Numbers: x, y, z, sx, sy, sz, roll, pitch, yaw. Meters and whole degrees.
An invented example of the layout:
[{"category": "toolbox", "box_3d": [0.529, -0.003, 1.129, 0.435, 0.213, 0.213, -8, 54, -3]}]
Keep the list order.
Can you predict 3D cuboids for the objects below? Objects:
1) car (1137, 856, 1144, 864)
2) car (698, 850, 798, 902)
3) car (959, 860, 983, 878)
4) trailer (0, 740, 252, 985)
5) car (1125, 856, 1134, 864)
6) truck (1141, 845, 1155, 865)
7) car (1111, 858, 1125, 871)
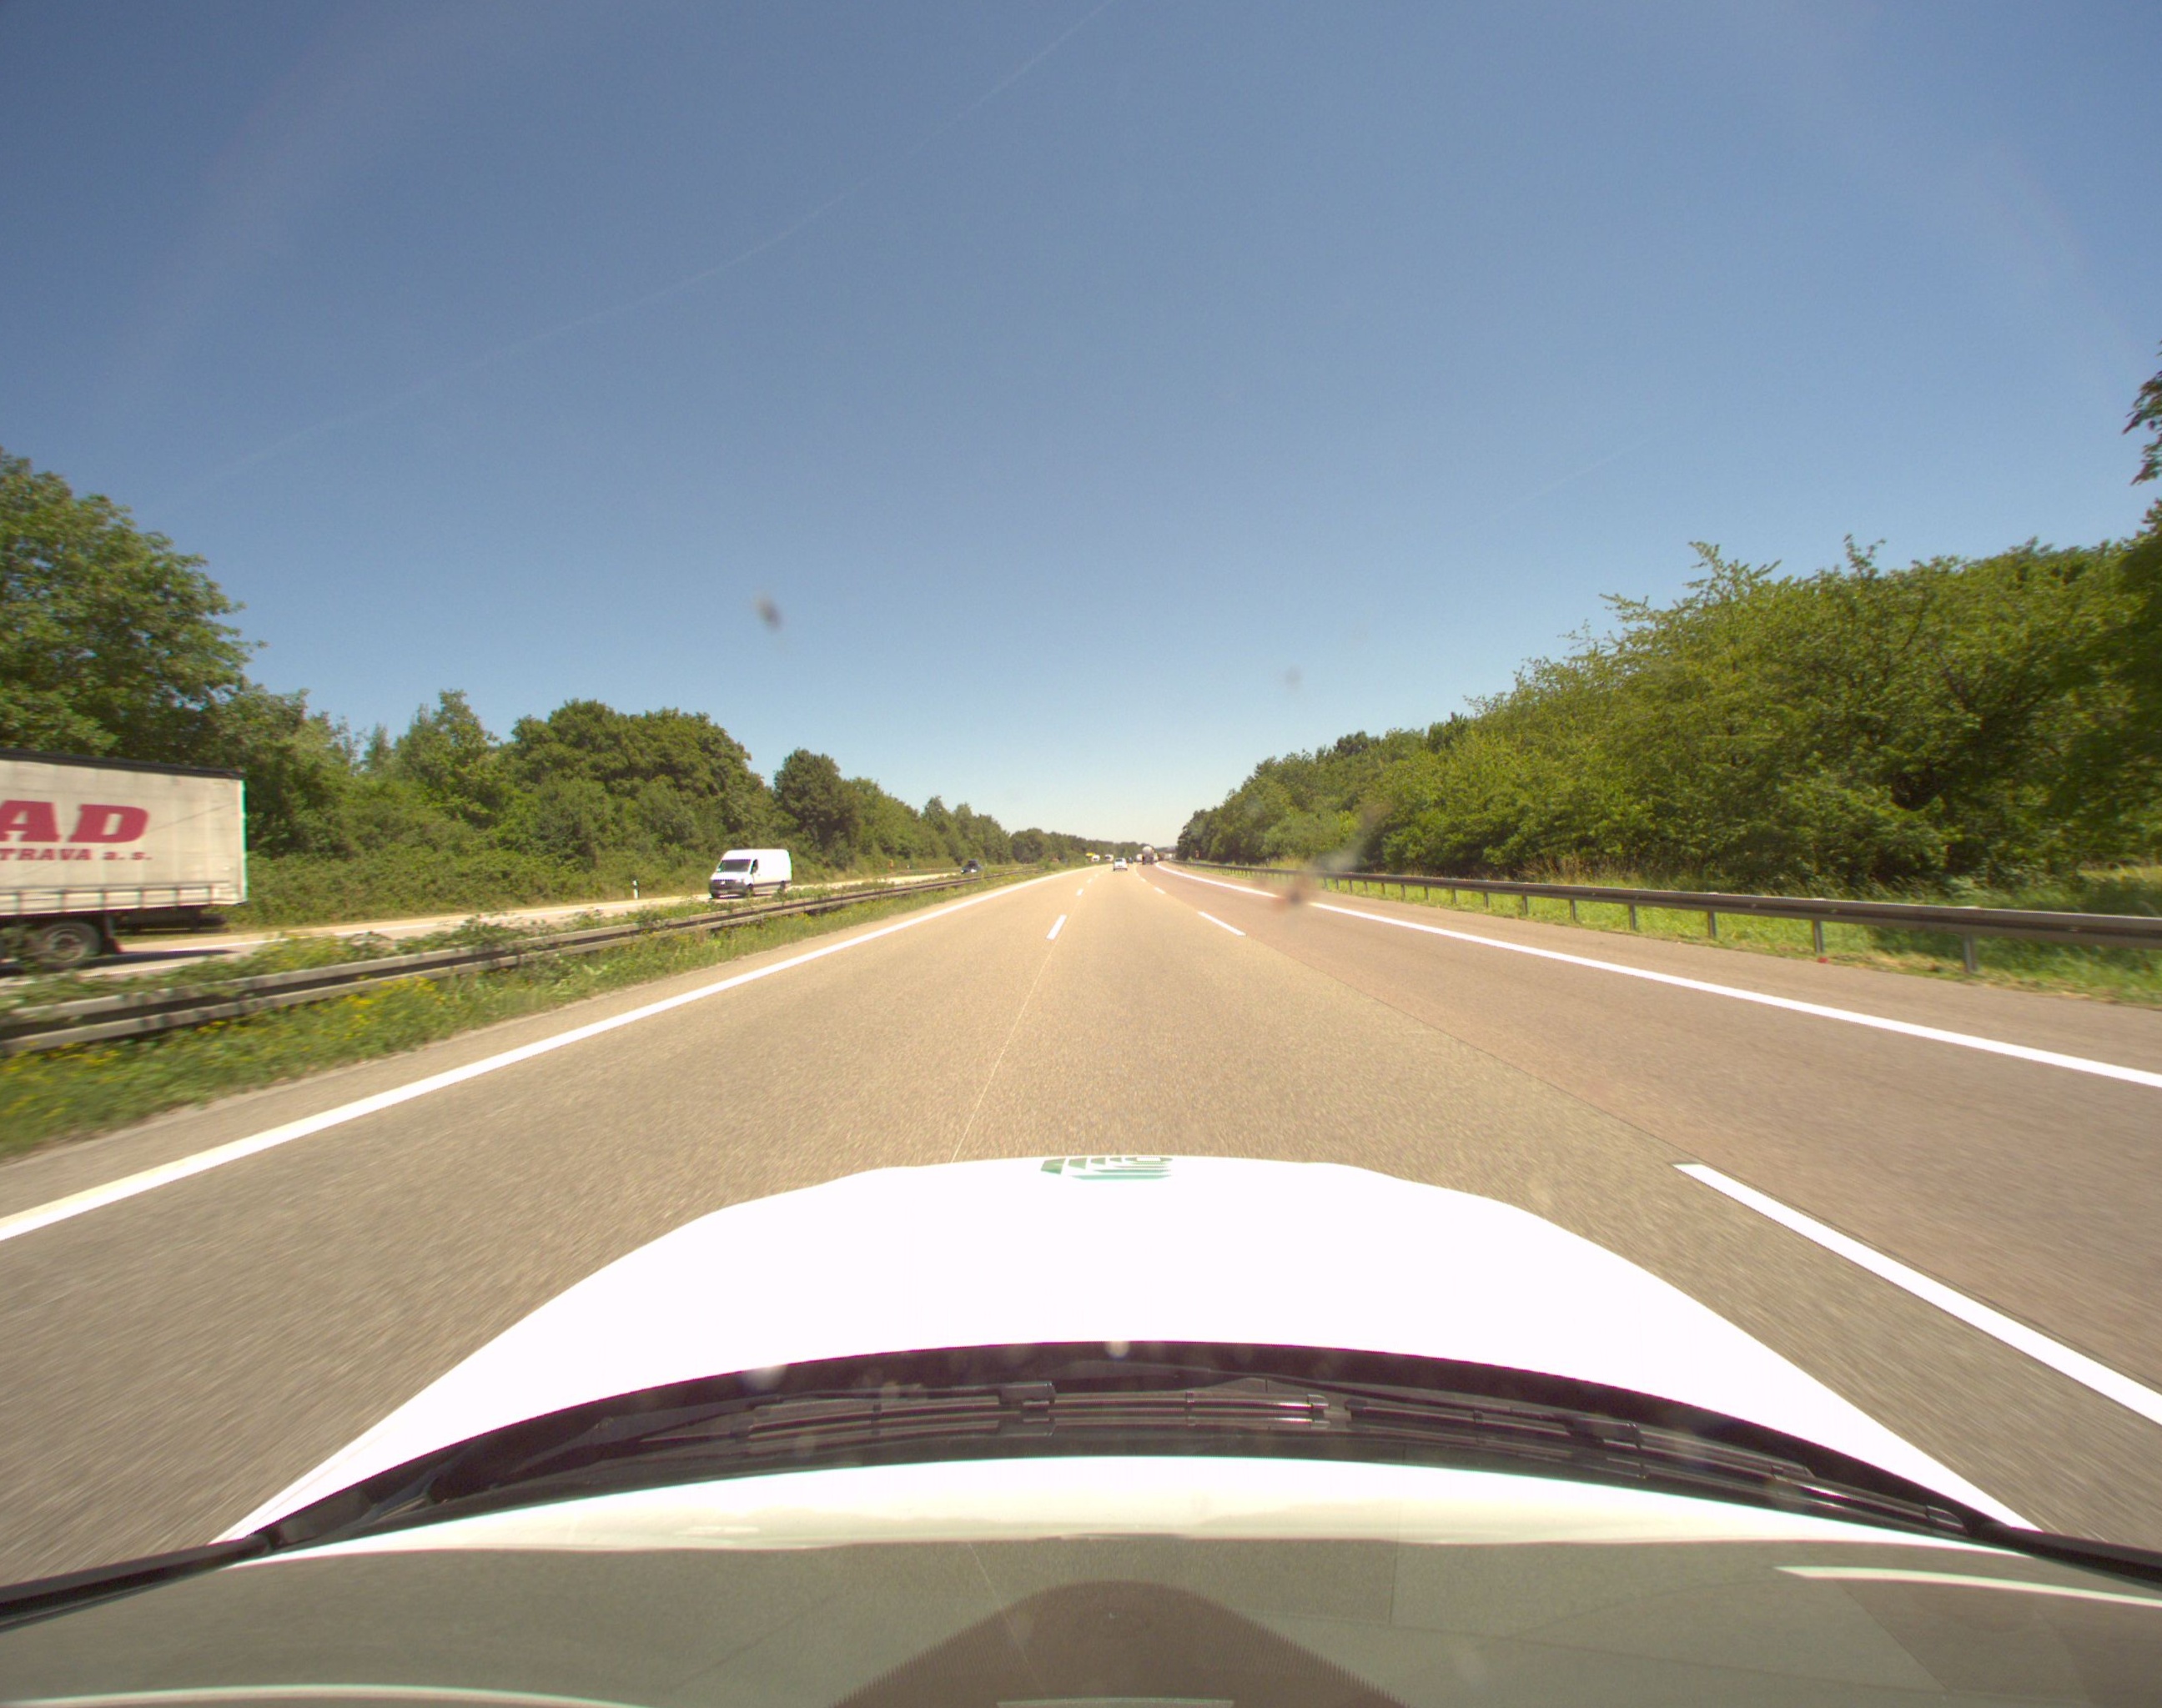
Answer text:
[{"category": "car", "box_3d": [18.325, 1.885, 250.282, 1.984, 2.343, 4.393, -2, -1, 5]}, {"category": "car", "box_3d": [-18.439, 1.143, 45.619, 2.220, 2.576, 7.394, -3, -1, 2]}, {"category": "car", "box_3d": [-12.229, 1.696, 91.023, 1.820, 1.906, 4.958, -2, 0, 1]}, {"category": "trailer", "box_3d": [-19.846, 0.160, 11.240, 2.696, 4.184, 13.560, -2, -1, 1]}, {"category": "car", "box_3d": [12.138, 1.509, 201.932, 1.984, 2.013, 4.006, -3, -1, 5]}, {"category": "truck", "box_3d": [14.939, 0.304, 179.918, 2.726, 4.052, 10.470, -2, -1, 6]}, {"category": "car", "box_3d": [4.543, 1.298, 99.704, 1.621, 1.479, 4.002, -2, -1, 2]}]
